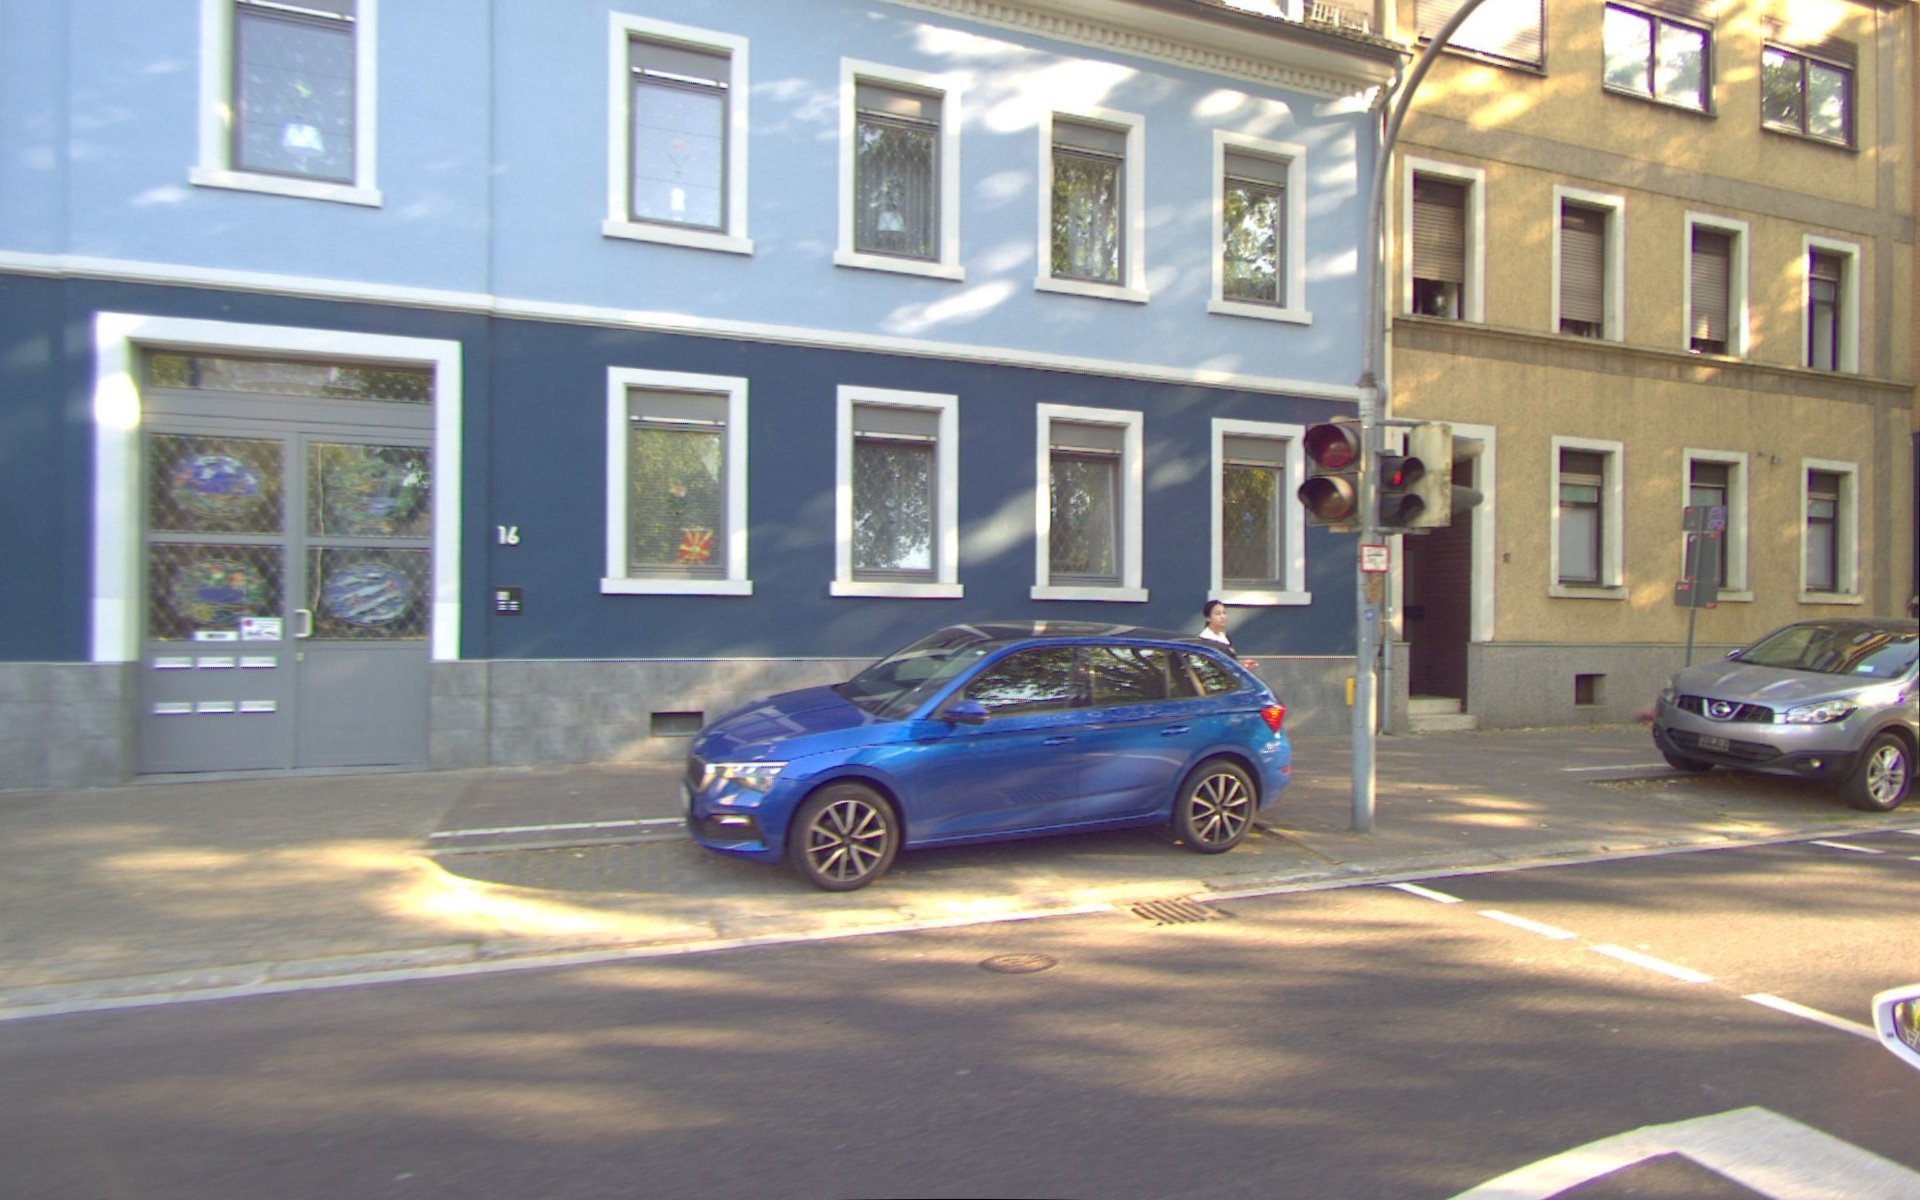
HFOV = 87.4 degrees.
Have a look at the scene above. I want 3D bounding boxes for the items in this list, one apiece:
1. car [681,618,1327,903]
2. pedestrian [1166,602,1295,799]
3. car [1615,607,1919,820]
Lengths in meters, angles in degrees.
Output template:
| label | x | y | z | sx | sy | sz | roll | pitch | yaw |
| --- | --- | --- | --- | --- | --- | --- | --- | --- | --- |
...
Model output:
| label | x | y | z | sx | sy | sz | roll | pitch | yaw |
| --- | --- | --- | --- | --- | --- | --- | --- | --- | --- |
| car | 0.296 | 0.915 | 7.008 | 4.198 | 1.506 | 1.647 | 1 | 1 | -21 |
| pedestrian | 2.342 | 0.826 | 8.692 | 0.854 | 1.590 | 0.702 | -1 | -1 | 43 |
| car | 8.654 | 0.957 | 9.675 | 4.091 | 1.695 | 1.780 | 1 | 1 | -19 |
